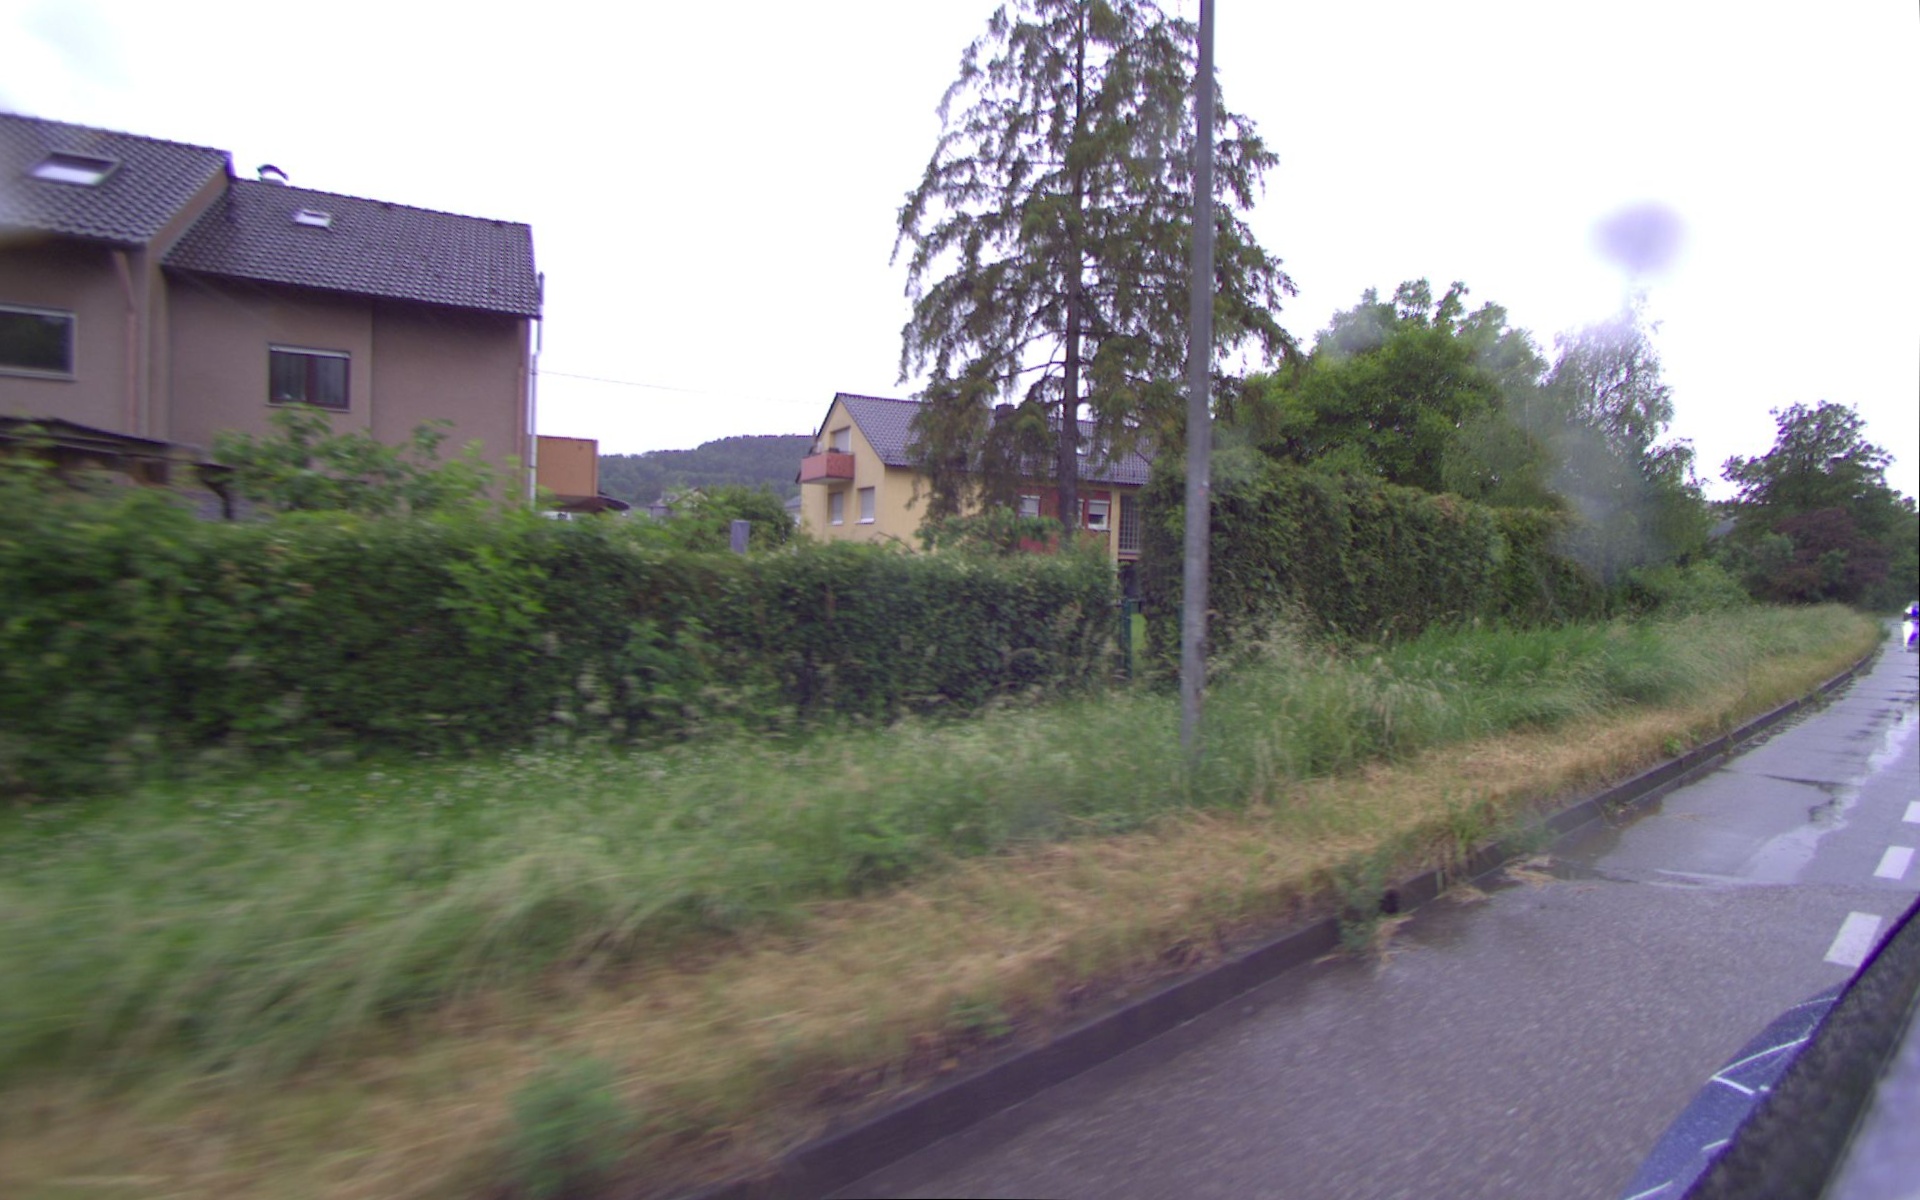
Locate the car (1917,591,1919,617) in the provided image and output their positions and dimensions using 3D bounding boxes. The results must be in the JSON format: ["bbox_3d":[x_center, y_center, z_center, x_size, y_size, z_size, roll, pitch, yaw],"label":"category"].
[{"bbox_3d":[71.842,0.315,74.479,1.994,1.864,3.937,3,2,44],"label":"car"}]
